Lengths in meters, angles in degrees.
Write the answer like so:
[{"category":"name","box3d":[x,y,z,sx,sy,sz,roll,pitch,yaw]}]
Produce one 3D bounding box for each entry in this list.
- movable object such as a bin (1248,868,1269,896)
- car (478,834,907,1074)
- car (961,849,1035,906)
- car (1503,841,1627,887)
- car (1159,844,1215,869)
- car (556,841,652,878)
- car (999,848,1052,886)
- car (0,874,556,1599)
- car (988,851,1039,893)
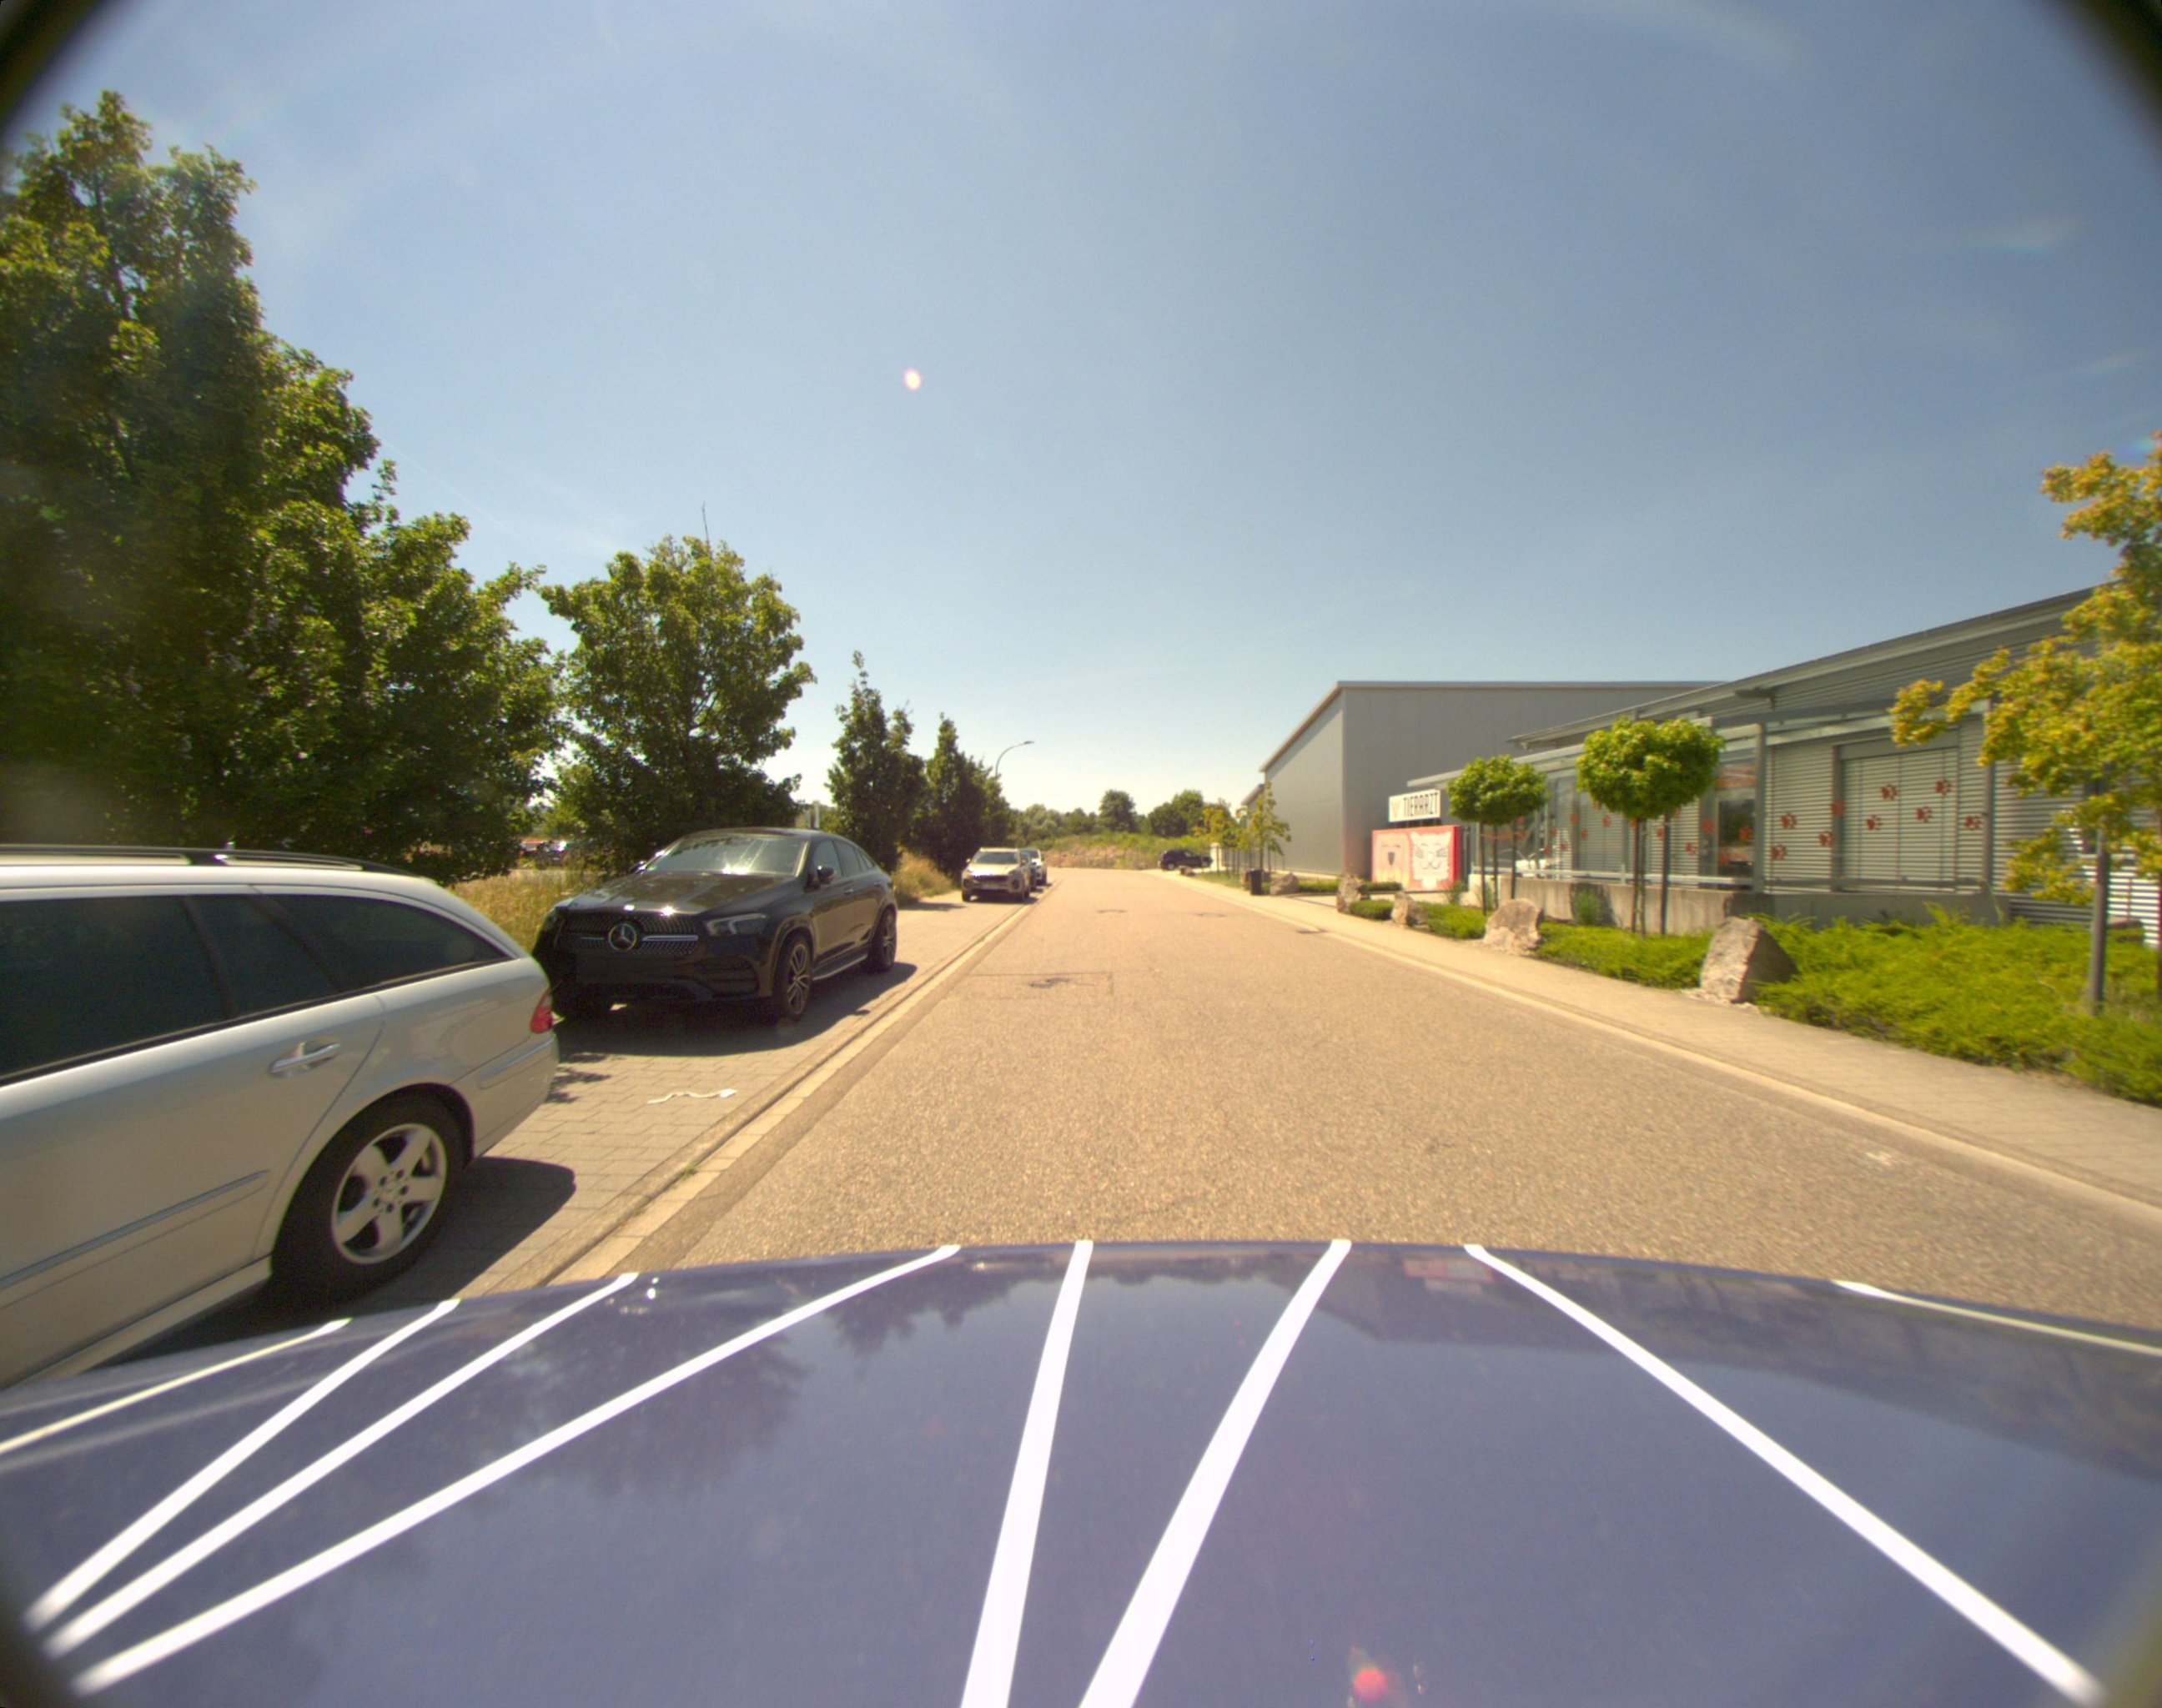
[{"category":"movable object such as a bin","box3d":[6.188,0.960,26.537,0.572,0.944,0.512,-1,1,-5]},{"category":"car","box3d":[-3.335,0.704,7.759,1.953,1.691,4.545,1,1,1]},{"category":"car","box3d":[-2.552,0.671,24.309,1.809,1.626,4.458,1,1,1]},{"category":"car","box3d":[18.237,0.340,28.856,1.912,1.575,3.998,-1,0,-5]},{"category":"car","box3d":[8.493,0.185,61.240,4.172,1.649,1.781,-5,1,1]},{"category":"car","box3d":[-23.846,0.299,38.189,1.998,1.776,4.402,0,-1,1]},{"category":"car","box3d":[-2.612,0.560,36.846,2.149,1.689,4.784,1,1,1]},{"category":"car","box3d":[-3.223,0.872,1.048,1.809,1.474,4.772,1,1,-2]},{"category":"car","box3d":[-2.699,0.667,31.261,1.909,1.520,4.628,1,1,-3]}]
